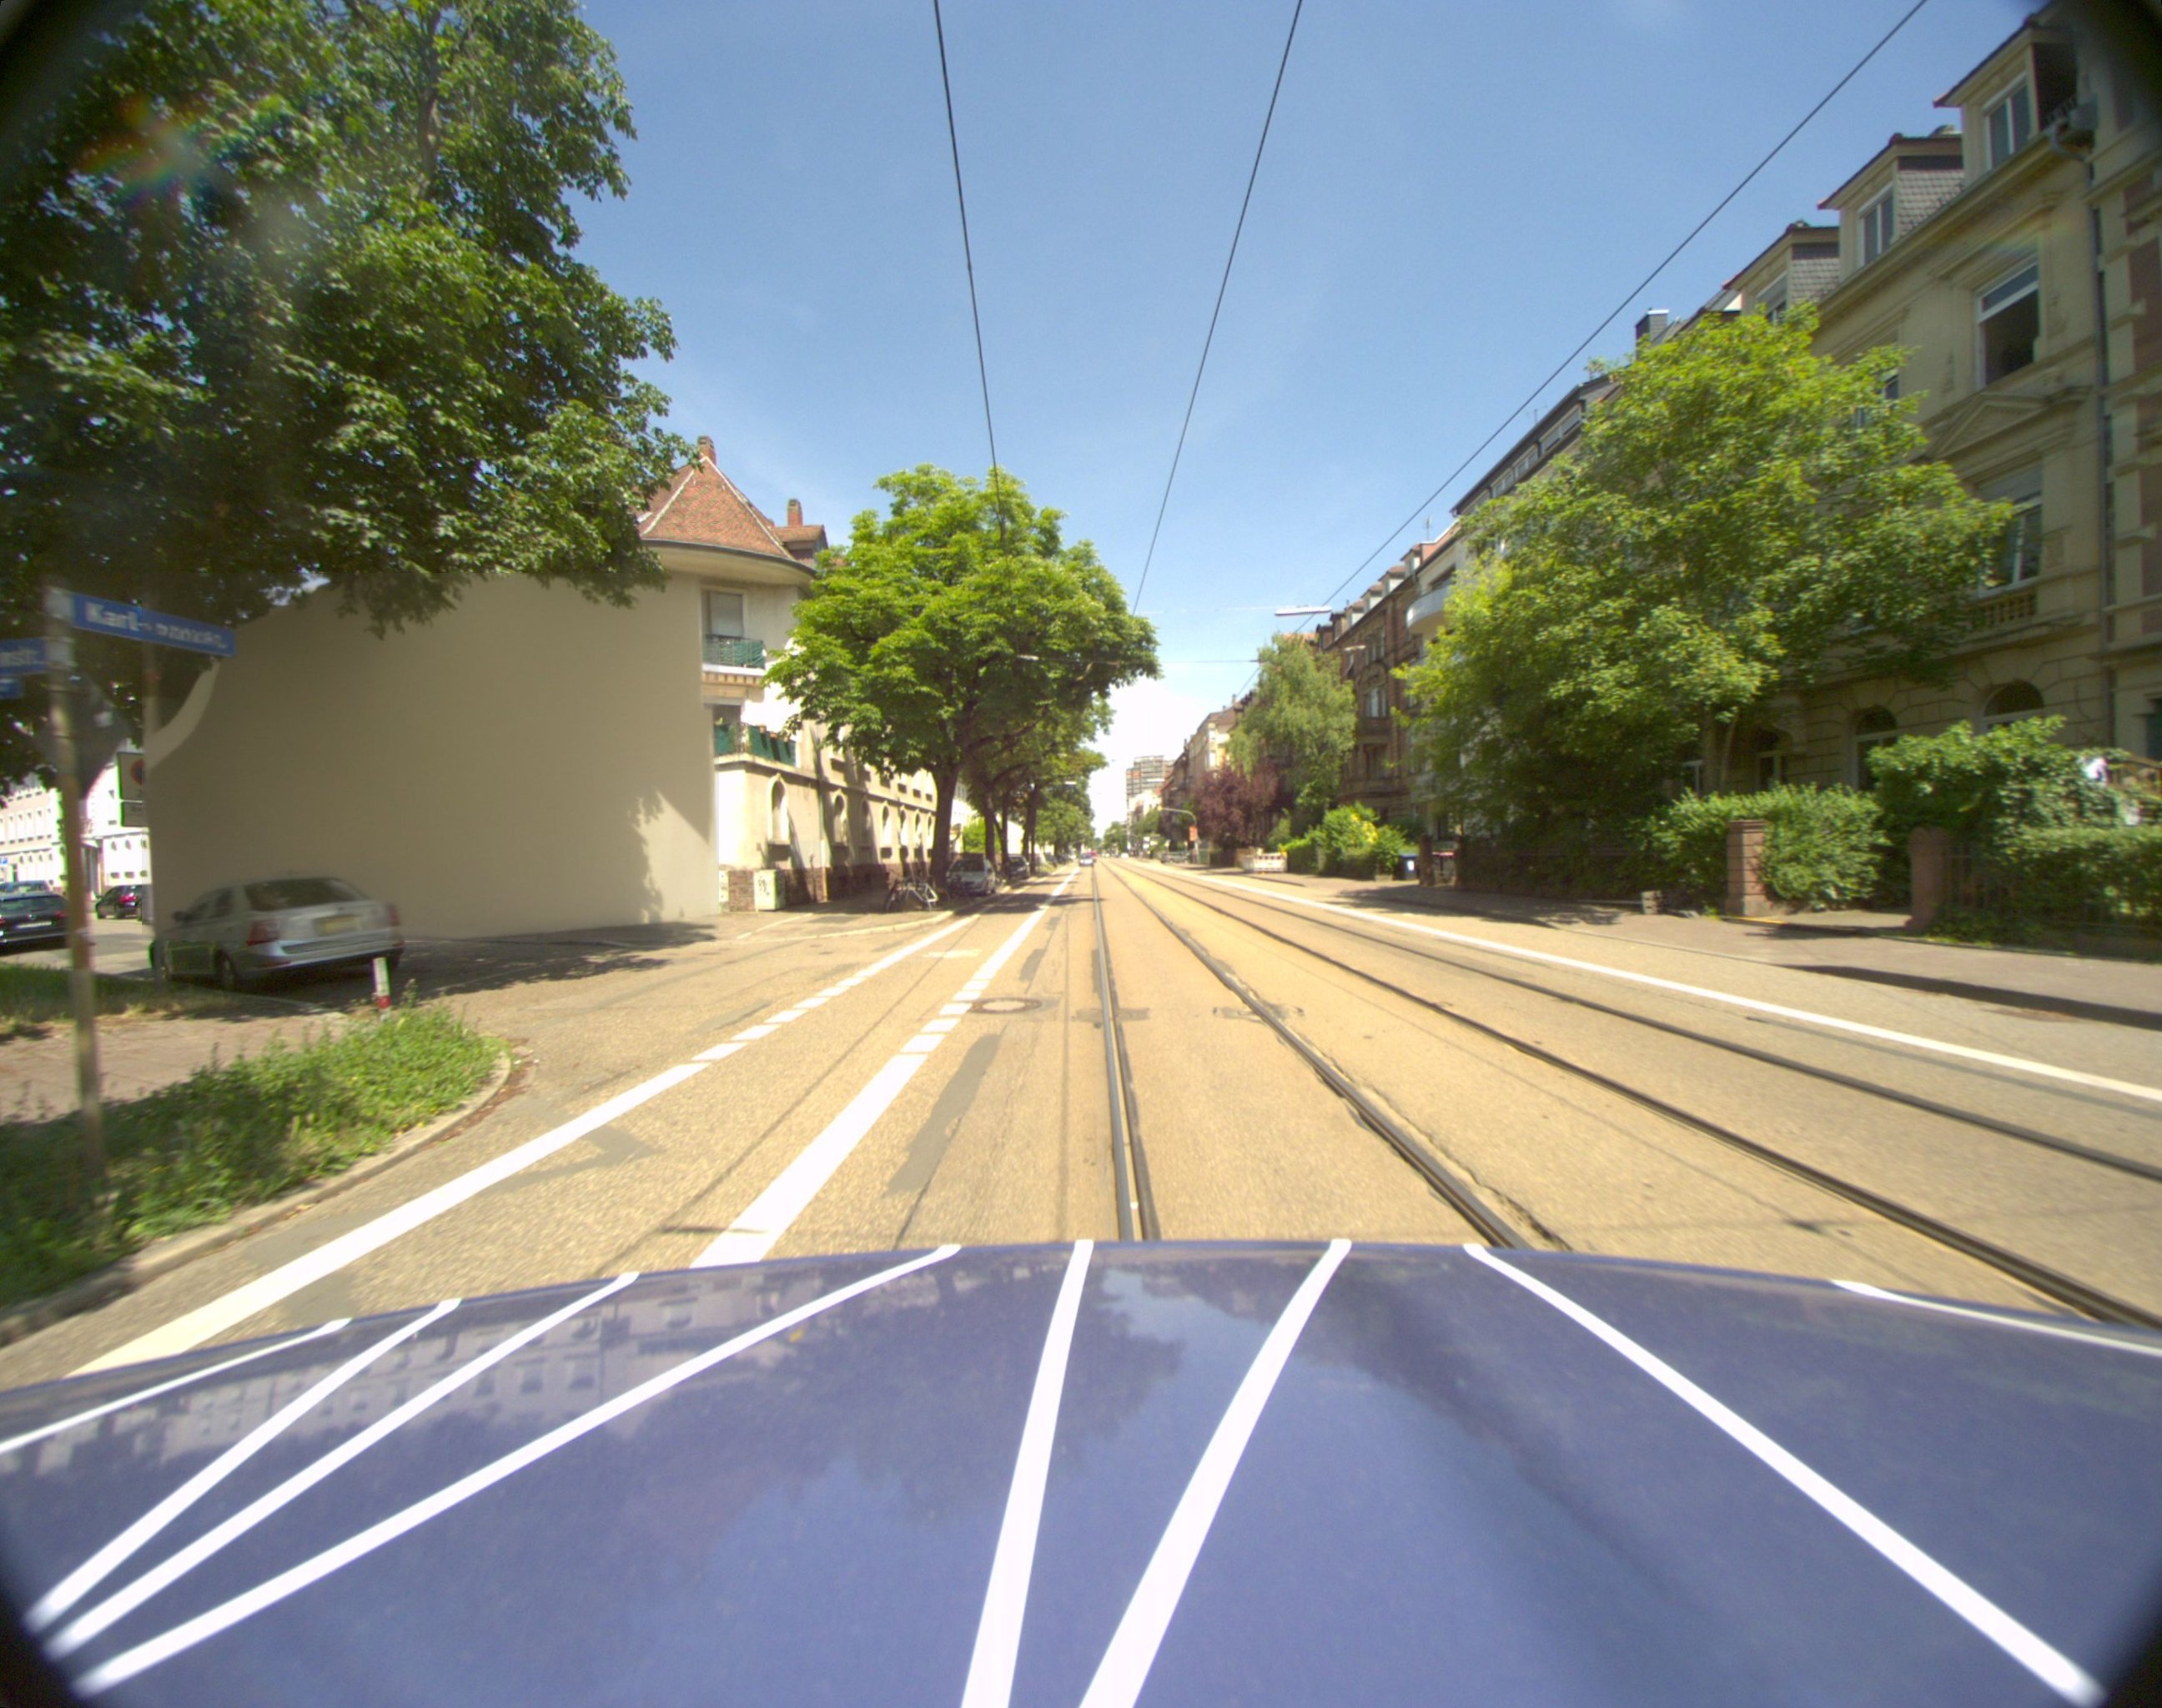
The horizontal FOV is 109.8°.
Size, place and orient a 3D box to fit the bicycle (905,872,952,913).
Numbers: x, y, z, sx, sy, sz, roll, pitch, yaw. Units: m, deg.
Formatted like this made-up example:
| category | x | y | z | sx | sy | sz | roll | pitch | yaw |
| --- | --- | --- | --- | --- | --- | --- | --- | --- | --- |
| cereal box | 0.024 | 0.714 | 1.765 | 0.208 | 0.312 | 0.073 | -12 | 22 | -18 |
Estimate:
| category | x | y | z | sx | sy | sz | roll | pitch | yaw |
| --- | --- | --- | --- | --- | --- | --- | --- | --- | --- |
| bicycle | -4.119 | 1.040 | 20.579 | 1.169 | 1.057 | 0.280 | -2 | 2 | 4 |

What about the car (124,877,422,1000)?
| category | x | y | z | sx | sy | sz | roll | pitch | yaw |
| --- | --- | --- | --- | --- | --- | --- | --- | --- | --- |
| car | -12.598 | 1.235 | 11.803 | 4.665 | 1.506 | 1.879 | -3 | 0 | 27 |

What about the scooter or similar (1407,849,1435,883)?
| category | x | y | z | sx | sy | sz | roll | pitch | yaw |
| --- | --- | --- | --- | --- | --- | --- | --- | --- | --- |
| scooter or similar | 11.752 | 0.419 | 26.261 | 0.616 | 1.151 | 0.695 | -1 | 1 | -2 |

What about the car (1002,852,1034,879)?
| category | x | y | z | sx | sy | sz | roll | pitch | yaw |
| --- | --- | --- | --- | --- | --- | --- | --- | --- | --- |
| car | -3.966 | 0.700 | 48.266 | 1.539 | 1.535 | 3.999 | -2 | 1 | 1 |

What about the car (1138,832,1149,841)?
| category | x | y | z | sx | sy | sz | roll | pitch | yaw |
| --- | --- | --- | --- | --- | --- | --- | --- | --- | --- |
| car | 10.613 | -3.023 | 129.059 | 1.493 | 1.372 | 3.630 | -2 | 2 | 1 |

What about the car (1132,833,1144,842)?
| category | x | y | z | sx | sy | sz | roll | pitch | yaw |
| --- | --- | --- | --- | --- | --- | --- | --- | --- | --- |
| car | 11.036 | -3.248 | 148.122 | 1.998 | 1.717 | 3.870 | -2 | 2 | 1 |

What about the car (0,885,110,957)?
| category | x | y | z | sx | sy | sz | roll | pitch | yaw |
| --- | --- | --- | --- | --- | --- | --- | --- | --- | --- |
| car | -26.767 | 1.638 | 19.183 | 3.990 | 1.573 | 2.003 | -1 | 2 | 27 |

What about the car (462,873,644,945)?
| category | x | y | z | sx | sy | sz | roll | pitch | yaw |
| --- | --- | --- | --- | --- | --- | --- | --- | --- | --- |
| car | -12.452 | 1.239 | 17.922 | 3.874 | 1.439 | 1.648 | -1 | 2 | 23 |

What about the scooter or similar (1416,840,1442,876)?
| category | x | y | z | sx | sy | sz | roll | pitch | yaw |
| --- | --- | --- | --- | --- | --- | --- | --- | --- | --- |
| scooter or similar | 13.605 | 0.151 | 29.674 | 0.617 | 1.391 | 0.694 | -2 | 1 | -9 |

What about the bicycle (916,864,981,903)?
| category | x | y | z | sx | sy | sz | roll | pitch | yaw |
| --- | --- | --- | --- | --- | --- | --- | --- | --- | --- |
| bicycle | -4.403 | 0.982 | 25.263 | 2.037 | 1.194 | 0.445 | -2 | 2 | 11 |

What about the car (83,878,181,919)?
| category | x | y | z | sx | sy | sz | roll | pitch | yaw |
| --- | --- | --- | --- | --- | --- | --- | --- | --- | --- |
| car | -40.045 | 1.845 | 32.048 | 3.990 | 1.550 | 1.587 | -1 | 2 | 25 |

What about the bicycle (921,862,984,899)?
| category | x | y | z | sx | sy | sz | roll | pitch | yaw |
| --- | --- | --- | --- | --- | --- | --- | --- | --- | --- |
| bicycle | -4.348 | 0.898 | 25.766 | 2.037 | 1.194 | 0.445 | -2 | 2 | 11 |

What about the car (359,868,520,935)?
| category | x | y | z | sx | sy | sz | roll | pitch | yaw |
| --- | --- | --- | --- | --- | --- | --- | --- | --- | --- |
| car | -17.273 | 1.237 | 20.453 | 3.990 | 1.495 | 1.823 | -1 | 4 | 28 |

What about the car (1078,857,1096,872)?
| category | x | y | z | sx | sy | sz | roll | pitch | yaw |
| --- | --- | --- | --- | --- | --- | --- | --- | --- | --- |
| car | 0.703 | 1.177 | 88.097 | 1.893 | 1.561 | 4.036 | -2 | 2 | 1 |

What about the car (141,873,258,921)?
| category | x | y | z | sx | sy | sz | roll | pitch | yaw |
| --- | --- | --- | --- | --- | --- | --- | --- | --- | --- |
| car | -33.952 | 1.627 | 29.256 | 3.990 | 1.648 | 1.837 | -1 | 2 | 25 |

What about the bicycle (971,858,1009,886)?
| category | x | y | z | sx | sy | sz | roll | pitch | yaw |
| --- | --- | --- | --- | --- | --- | --- | --- | --- | --- |
| bicycle | -4.099 | 0.827 | 34.376 | 1.623 | 1.194 | 0.305 | -2 | 2 | 2 |

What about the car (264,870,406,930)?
| category | x | y | z | sx | sy | sz | roll | pitch | yaw |
| --- | --- | --- | --- | --- | --- | --- | --- | --- | --- |
| car | -22.699 | 1.354 | 23.106 | 3.990 | 1.571 | 1.872 | -1 | 2 | 28 |

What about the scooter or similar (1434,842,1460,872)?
| category | x | y | z | sx | sy | sz | roll | pitch | yaw |
| --- | --- | --- | --- | --- | --- | --- | --- | --- | --- |
| scooter or similar | 14.293 | 0.116 | 29.710 | 0.617 | 1.151 | 0.694 | -1 | 1 | -9 |

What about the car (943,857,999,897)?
| category | x | y | z | sx | sy | sz | roll | pitch | yaw |
| --- | --- | --- | --- | --- | --- | --- | --- | --- | --- |
| car | -4.267 | 0.862 | 29.992 | 1.596 | 1.444 | 3.631 | 0 | 0 | 1 |

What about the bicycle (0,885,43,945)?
| category | x | y | z | sx | sy | sz | roll | pitch | yaw |
| --- | --- | --- | --- | --- | --- | --- | --- | --- | --- |
| bicycle | -32.176 | 1.777 | 21.907 | 3.990 | 1.636 | 1.841 | -1 | 2 | 25 |

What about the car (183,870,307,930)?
| category | x | y | z | sx | sy | sz | roll | pitch | yaw |
| --- | --- | --- | --- | --- | --- | --- | --- | --- | --- |
| car | -27.297 | 1.452 | 24.796 | 3.990 | 1.720 | 1.655 | -1 | 3 | 28 |

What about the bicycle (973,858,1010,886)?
| category | x | y | z | sx | sy | sz | roll | pitch | yaw |
| --- | --- | --- | --- | --- | --- | --- | --- | --- | --- |
| bicycle | -4.083 | 0.824 | 34.730 | 1.623 | 1.194 | 0.305 | -2 | 2 | 2 |

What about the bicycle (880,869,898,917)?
| category | x | y | z | sx | sy | sz | roll | pitch | yaw |
| --- | --- | --- | --- | --- | --- | --- | --- | --- | --- |
| bicycle | -5.217 | 1.027 | 20.593 | 0.284 | 1.194 | 1.625 | -3 | 2 | -19 |

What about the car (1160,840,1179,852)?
| category | x | y | z | sx | sy | sz | roll | pitch | yaw |
| --- | --- | --- | --- | --- | --- | --- | --- | --- | --- |
| car | 11.364 | -1.069 | 97.639 | 1.998 | 1.468 | 3.999 | -2 | 2 | 1 |

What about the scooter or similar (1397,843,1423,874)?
| category | x | y | z | sx | sy | sz | roll | pitch | yaw |
| --- | --- | --- | --- | --- | --- | --- | --- | --- | --- |
| scooter or similar | 12.880 | 0.174 | 29.769 | 0.617 | 1.151 | 0.694 | -2 | 1 | -9 |
